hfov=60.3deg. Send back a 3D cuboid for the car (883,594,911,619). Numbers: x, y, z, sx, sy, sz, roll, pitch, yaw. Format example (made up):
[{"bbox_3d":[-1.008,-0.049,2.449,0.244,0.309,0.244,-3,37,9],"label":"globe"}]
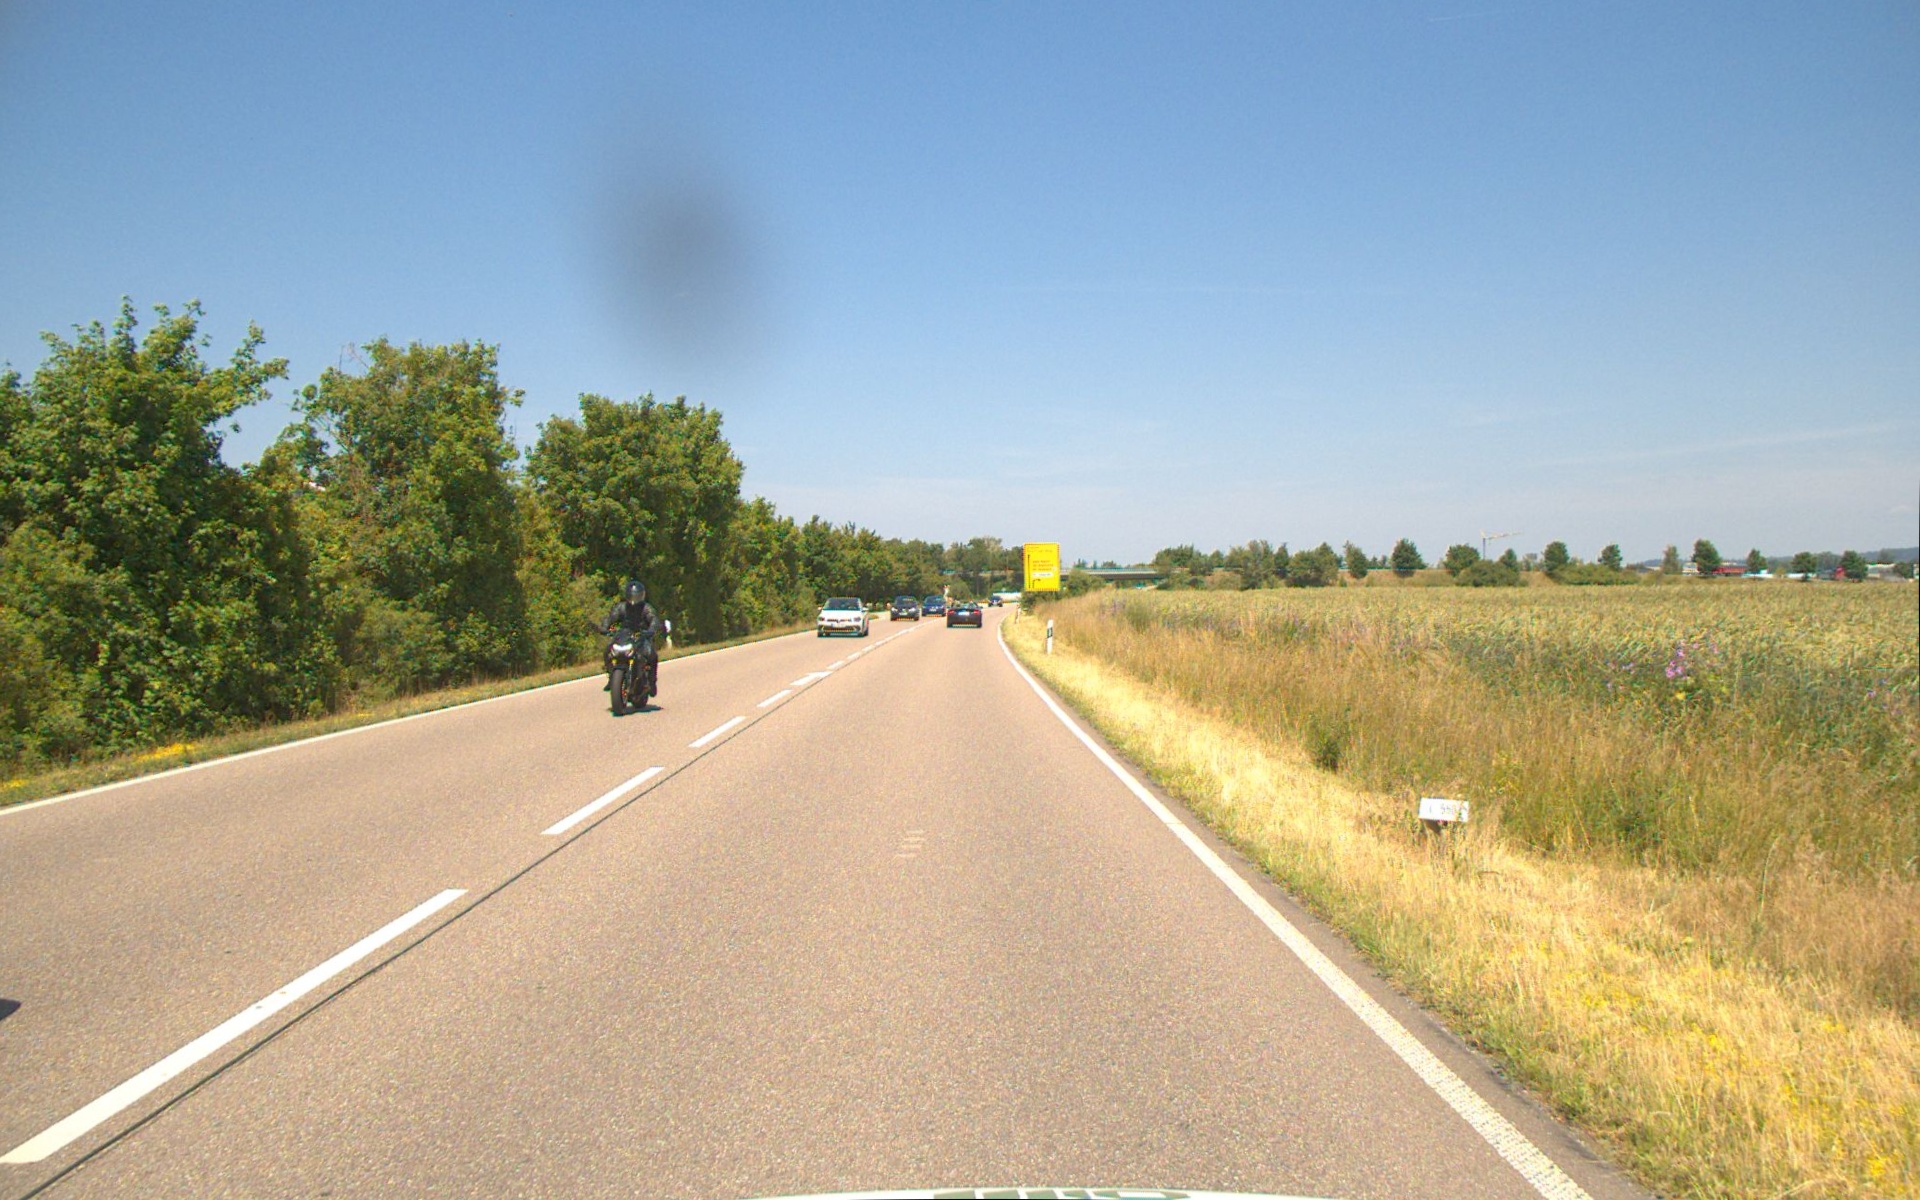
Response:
[{"bbox_3d":[-3.840,0.384,100.798,1.565,1.467,4.000,0,0,0],"label":"car"}]

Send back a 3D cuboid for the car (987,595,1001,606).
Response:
[{"bbox_3d":[4.605,0.062,223.216,1.744,1.445,4.535,0,0,2],"label":"car"}]

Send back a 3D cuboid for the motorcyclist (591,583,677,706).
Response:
[{"bbox_3d":[-4.149,0.540,21.164,0.818,1.500,1.816,0,0,-3],"label":"motorcyclist"}]

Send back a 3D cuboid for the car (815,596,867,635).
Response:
[{"bbox_3d":[-4.414,0.577,61.916,1.672,1.405,3.819,0,0,0],"label":"car"}]

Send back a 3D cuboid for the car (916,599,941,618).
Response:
[{"bbox_3d":[-2.328,0.616,123.143,1.618,1.431,4.001,1,0,2],"label":"car"}]

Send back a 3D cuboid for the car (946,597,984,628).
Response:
[{"bbox_3d":[0.257,0.600,81.982,1.777,1.466,4.000,1,0,1],"label":"car"}]

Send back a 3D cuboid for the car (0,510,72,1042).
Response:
[{"bbox_3d":[-3.988,0.580,3.314,1.781,1.731,5.000,0,0,-1],"label":"car"}]

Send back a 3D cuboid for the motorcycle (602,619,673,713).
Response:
[{"bbox_3d":[-4.142,0.816,21.338,0.604,1.128,2.021,0,0,-3],"label":"motorcycle"}]
